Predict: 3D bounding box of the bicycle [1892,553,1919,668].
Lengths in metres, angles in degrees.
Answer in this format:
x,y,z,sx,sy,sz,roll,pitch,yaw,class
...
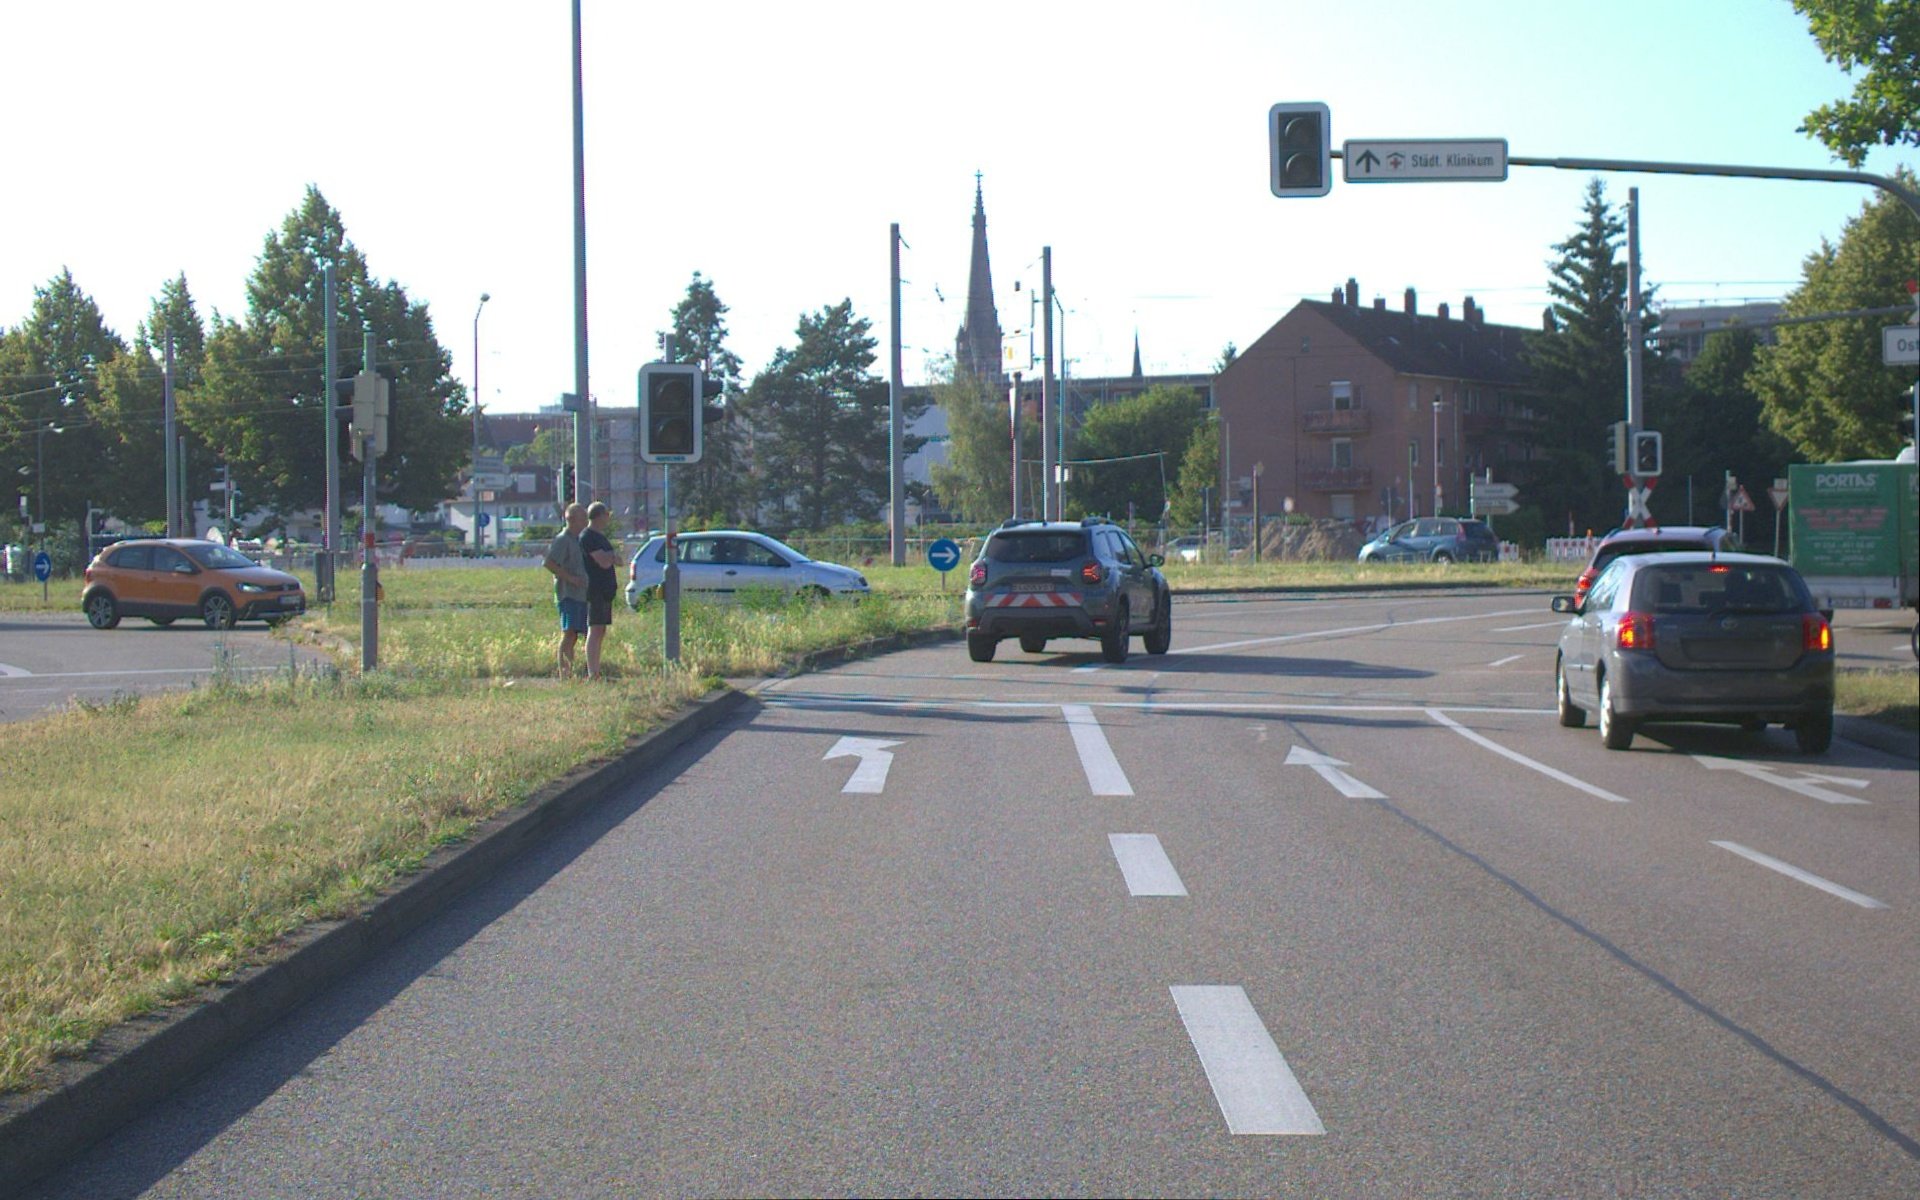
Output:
x,y,z,sx,sy,sz,roll,pitch,yaw,class
11.103,0.089,37.087,1.908,1.240,0.608,-2,1,37,bicycle

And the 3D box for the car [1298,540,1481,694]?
x,y,z,sx,sy,sz,roll,pitch,yaw,class
4.751,0.146,38.444,1.602,1.604,4.000,-1,1,1,car

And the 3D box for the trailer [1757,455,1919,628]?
x,y,z,sx,sy,sz,roll,pitch,yaw,class
13.114,-0.851,49.596,2.094,2.392,3.494,1,1,32,trailer

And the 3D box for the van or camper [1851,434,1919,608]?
x,y,z,sx,sy,sz,roll,pitch,yaw,class
16.600,-1.238,54.534,2.290,2.620,6.568,2,2,38,van or camper

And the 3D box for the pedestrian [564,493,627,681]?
x,y,z,sx,sy,sz,roll,pitch,yaw,class
-3.615,-0.136,34.094,0.486,1.837,0.672,-1,1,4,pedestrian

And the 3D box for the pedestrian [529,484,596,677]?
x,y,z,sx,sy,sz,roll,pitch,yaw,class
-3.829,-0.193,33.151,0.486,1.837,0.719,0,2,6,pedestrian

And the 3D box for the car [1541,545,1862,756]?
x,y,z,sx,sy,sz,roll,pitch,yaw,class
5.668,0.332,26.691,1.747,1.468,3.820,-1,1,2,car

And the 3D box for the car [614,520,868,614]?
x,y,z,sx,sy,sz,roll,pitch,yaw,class
-3.452,-0.533,54.624,3.748,1.429,1.835,-1,1,7,car

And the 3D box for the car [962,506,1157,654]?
x,y,z,sx,sy,sz,roll,pitch,yaw,class
1.234,-0.255,40.766,1.906,1.654,3.999,-1,1,8,car

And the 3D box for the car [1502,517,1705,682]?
x,y,z,sx,sy,sz,roll,pitch,yaw,class
7.283,-0.055,38.673,1.749,1.615,3.817,2,3,18,car

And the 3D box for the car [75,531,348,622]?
x,y,z,sx,sy,sz,roll,pitch,yaw,class
-12.402,-0.389,56.958,4.132,1.439,1.906,0,1,28,car
